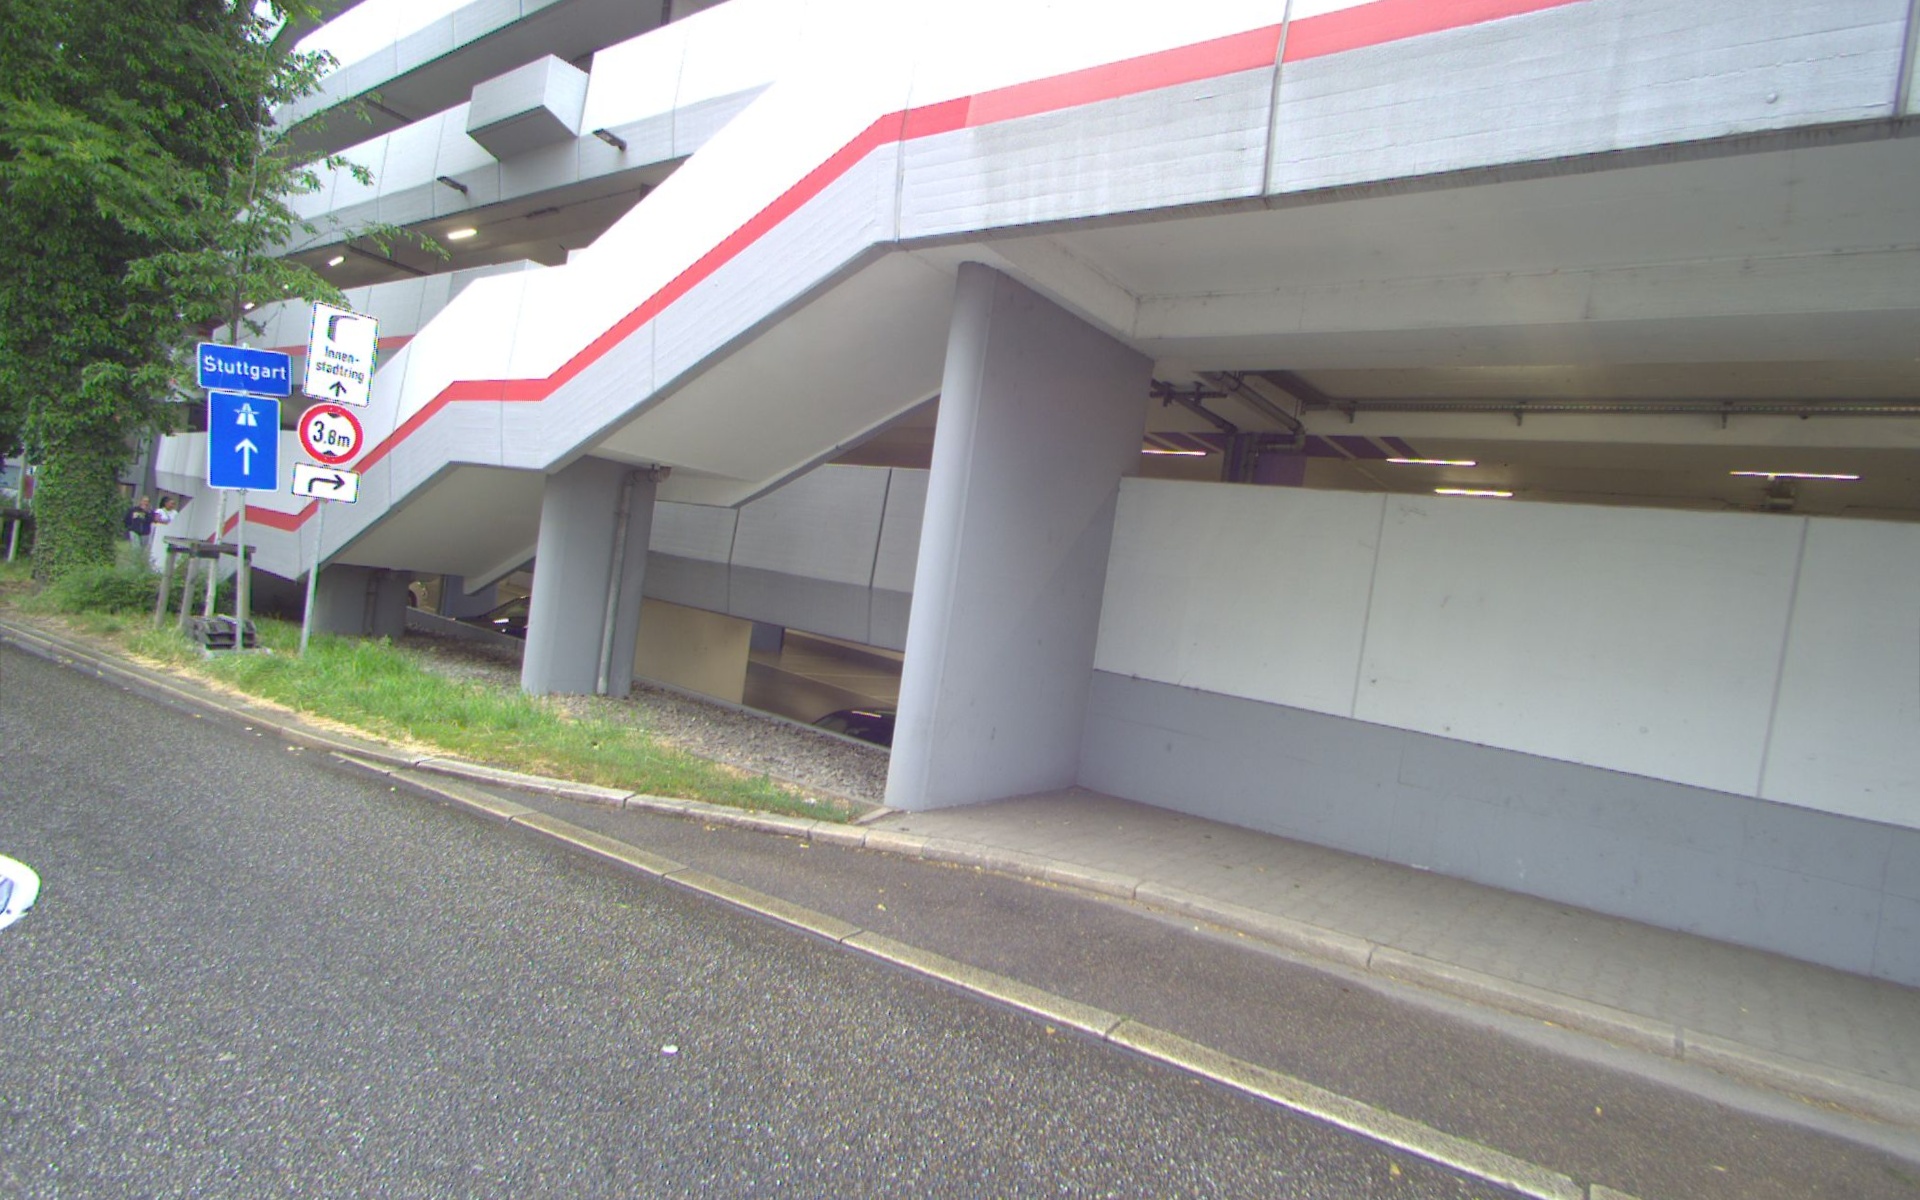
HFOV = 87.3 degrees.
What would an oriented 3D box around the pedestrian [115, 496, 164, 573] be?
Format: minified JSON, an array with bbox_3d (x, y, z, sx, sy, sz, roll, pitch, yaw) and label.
[{"bbox_3d":[-17.503,-1.402,21.461,0.481,1.550,0.551,6,-1,38],"label":"pedestrian"}]

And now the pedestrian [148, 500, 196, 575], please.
[{"bbox_3d":[-17.190,-1.360,21.949,0.496,1.519,0.582,6,-1,37],"label":"pedestrian"}]
